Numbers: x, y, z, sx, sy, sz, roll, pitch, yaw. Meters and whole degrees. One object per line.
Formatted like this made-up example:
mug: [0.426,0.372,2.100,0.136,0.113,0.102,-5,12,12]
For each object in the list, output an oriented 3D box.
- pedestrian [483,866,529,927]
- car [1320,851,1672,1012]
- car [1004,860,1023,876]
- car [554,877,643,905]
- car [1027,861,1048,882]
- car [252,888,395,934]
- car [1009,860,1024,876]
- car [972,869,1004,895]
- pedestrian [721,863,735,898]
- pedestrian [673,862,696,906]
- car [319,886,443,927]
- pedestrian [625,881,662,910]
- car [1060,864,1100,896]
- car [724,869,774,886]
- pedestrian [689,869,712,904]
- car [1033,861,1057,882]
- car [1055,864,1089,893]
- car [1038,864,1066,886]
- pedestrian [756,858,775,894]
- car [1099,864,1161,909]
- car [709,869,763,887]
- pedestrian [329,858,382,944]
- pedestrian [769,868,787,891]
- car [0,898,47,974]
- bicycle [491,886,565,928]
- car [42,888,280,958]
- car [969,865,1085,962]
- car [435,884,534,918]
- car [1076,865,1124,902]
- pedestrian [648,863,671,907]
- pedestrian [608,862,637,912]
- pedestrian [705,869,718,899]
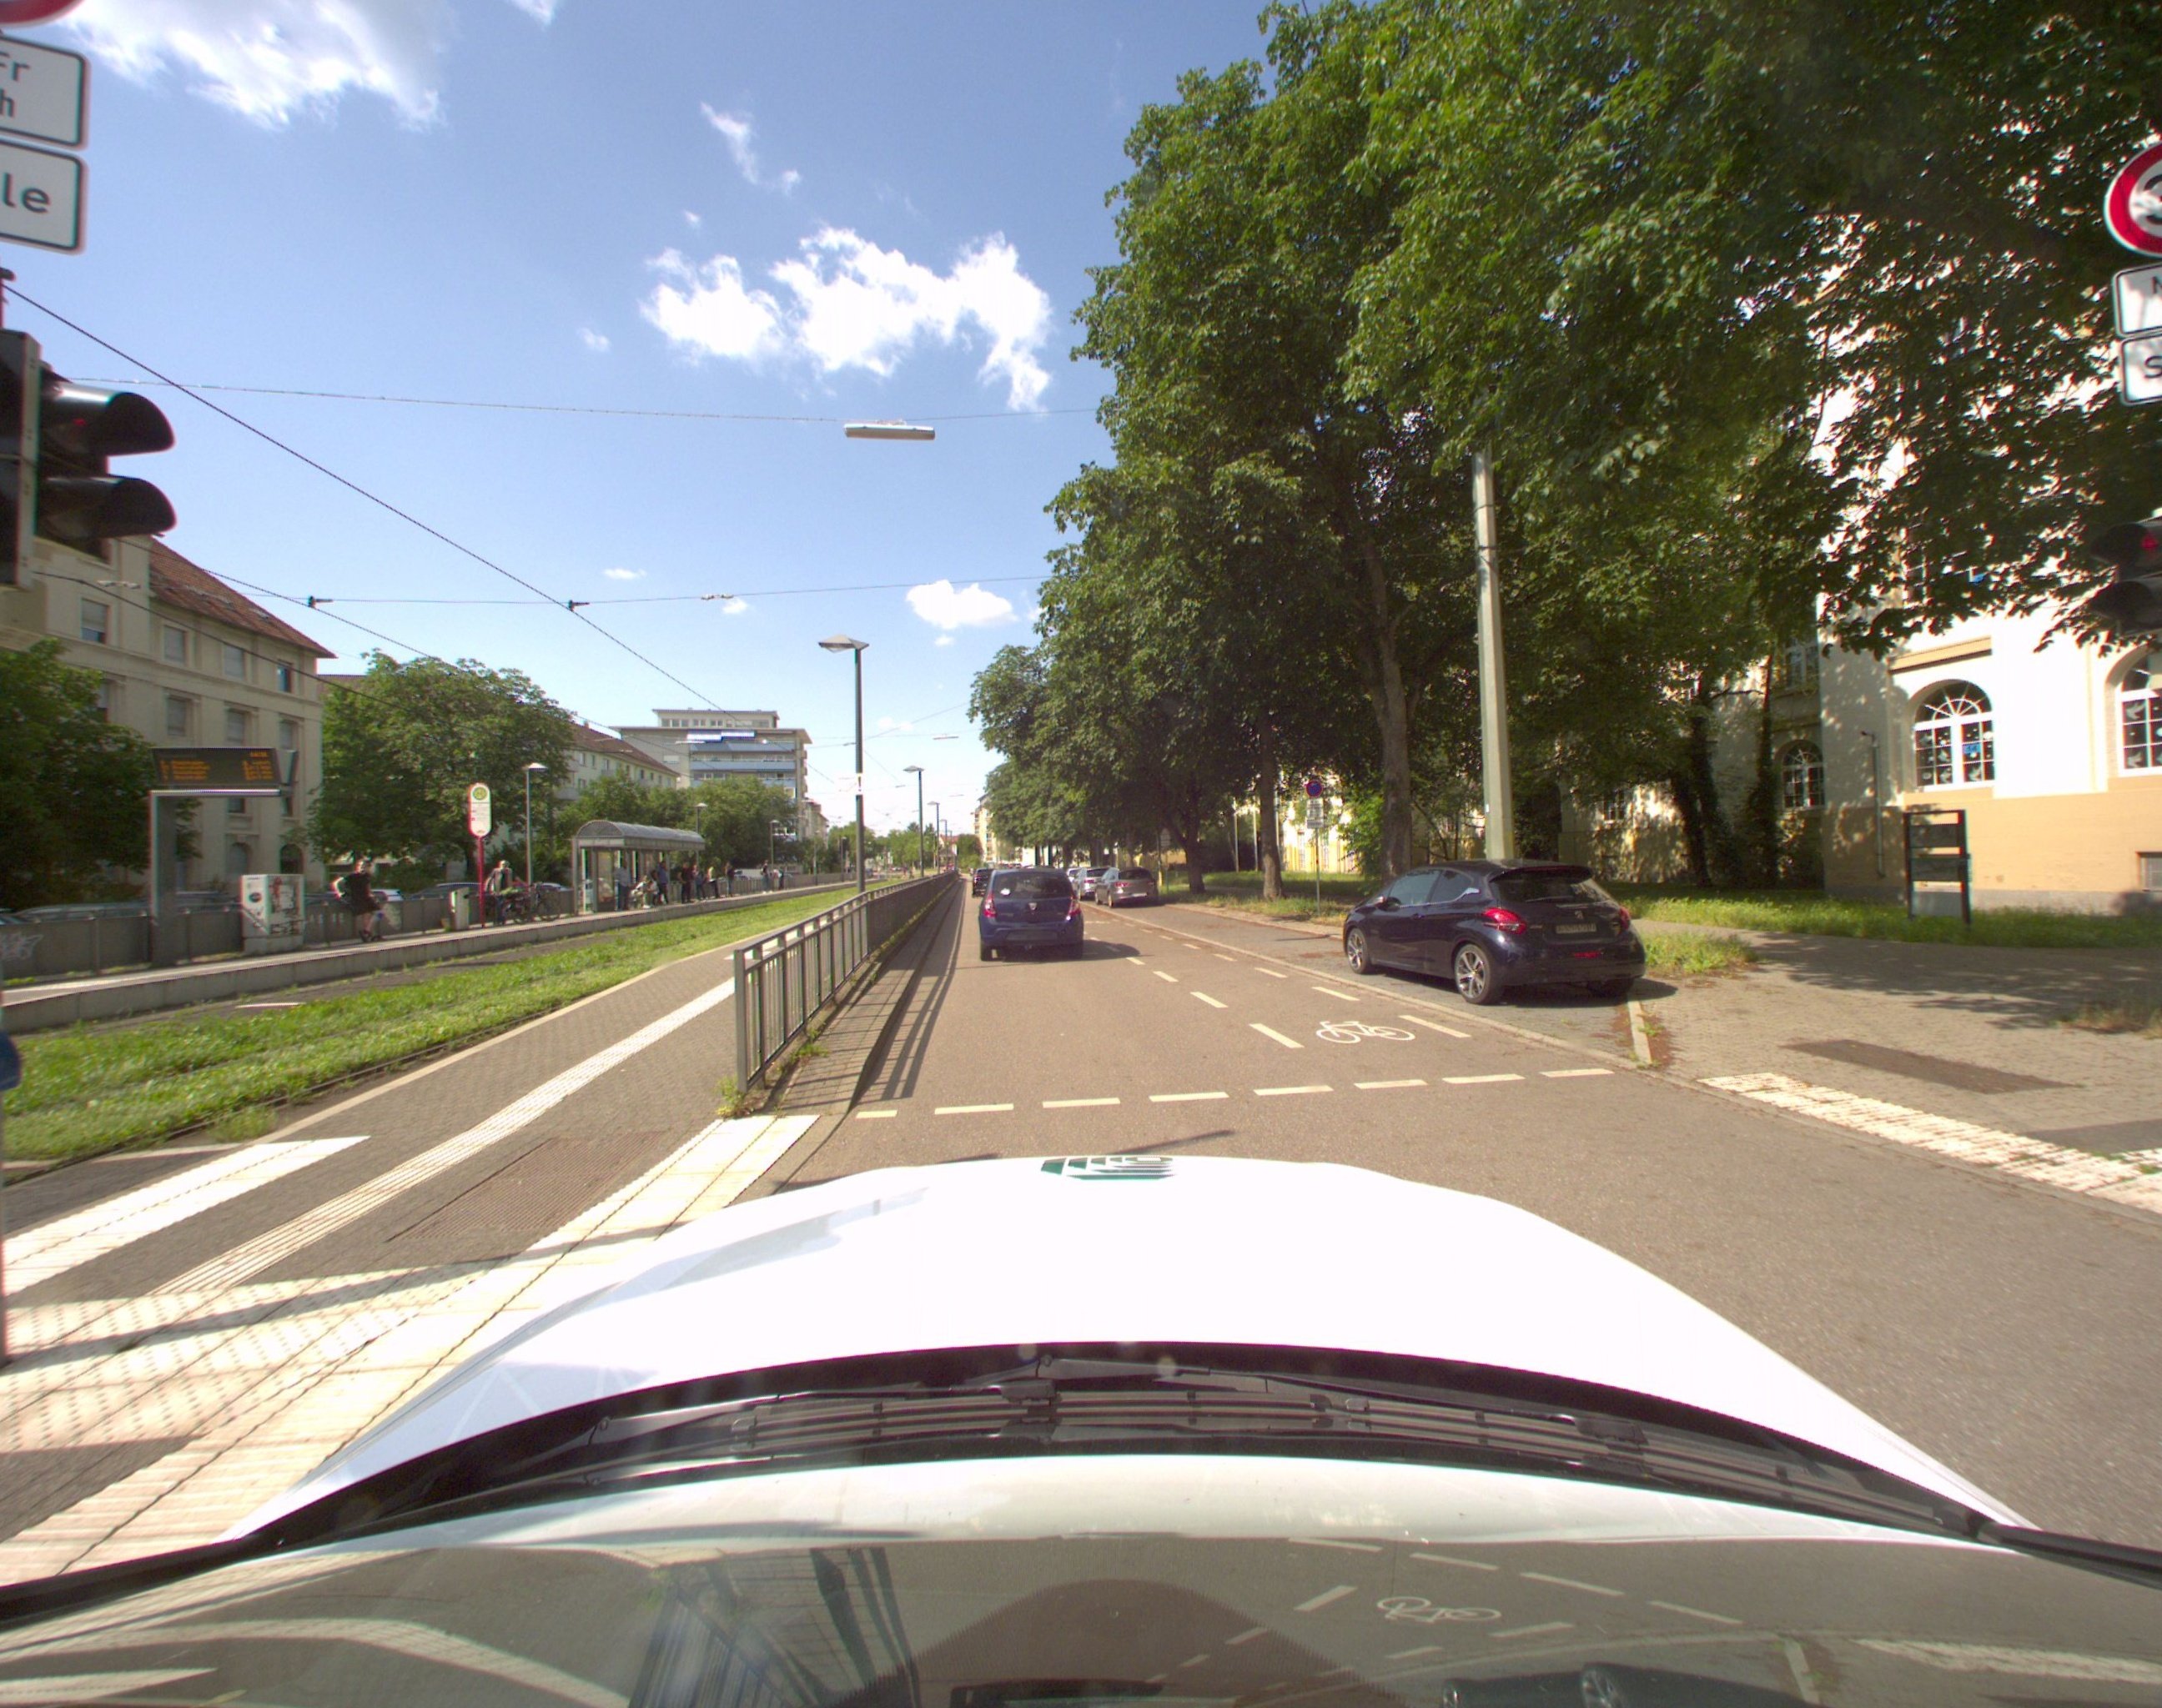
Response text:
pedestrian: [-15.553,1.141,22.040,0.661,1.569,0.686,-3,-1,0]
car: [4.541,0.749,9.663,1.764,1.433,3.893,-2,-1,-8]
car: [-7.579,1.572,91.462,1.825,1.762,3.997,-2,-1,-2]
car: [-27.392,2.092,46.319,1.694,1.367,4.025,-3,-1,41]
car: [-3.934,1.547,73.004,1.616,1.750,3.990,-2,-1,-7]
car: [-25.506,1.884,27.506,1.437,1.309,3.267,-2,-1,34]
car: [-7.737,1.636,97.572,1.664,1.772,3.995,-2,-1,-3]
car: [-5.535,1.669,48.923,1.696,1.368,3.511,-1,0,-3]
pedestrian: [-17.435,1.306,40.219,0.489,1.712,0.461,-2,-1,-17]
pedestrian: [-16.428,1.228,33.731,0.602,1.766,0.639,-2,-1,2]
car: [-26.171,1.935,30.508,1.437,1.309,3.267,-2,-1,37]
pedestrian: [-16.205,1.534,30.179,0.923,0.989,0.795,-3,-2,-5]
car: [-0.084,1.318,41.869,1.856,1.445,3.997,-3,0,-2]
car: [-31.207,2.159,76.533,4.022,1.447,1.707,-1,-1,-42]
pedestrian: [-16.091,1.363,34.434,0.648,1.426,0.566,-3,-1,30]
car: [-2.832,1.345,64.425,1.823,1.537,3.997,-3,-1,-2]
car: [-0.555,1.341,46.500,1.847,1.515,3.997,-2,-1,-2]
car: [-2.087,1.503,59.194,1.856,1.445,3.997,-3,-1,-2]
pedestrian: [-17.862,1.257,46.141,0.800,2.014,0.661,-2,-1,-5]
car: [1.743,1.136,30.048,1.856,1.445,3.997,-3,0,-2]
car: [-30.204,2.113,71.377,1.618,1.386,4.026,-2,-1,37]
pedestrian: [-15.193,0.968,17.056,0.705,1.726,0.672,-2,-1,34]
pedestrian: [-19.990,1.647,53.647,1.033,1.437,0.698,-3,0,-22]
car: [-23.463,1.728,16.204,1.525,1.505,3.409,-3,-1,45]
bicycle: [-14.854,1.399,21.932,0.683,0.974,1.772,-4,0,3]
car: [-24.058,1.750,21.504,1.669,1.456,4.025,-3,-1,42]
car: [-1.011,0.946,14.531,1.765,1.462,3.768,-1,-1,-6]
car: [-26.585,2.051,36.361,1.437,1.309,3.267,-2,-1,37]
car: [0.776,1.249,36.033,1.856,1.445,3.997,-3,0,-2]
pedestrian: [-16.869,1.221,32.593,0.592,1.736,0.556,-2,-1,-3]
pedestrian: [-16.112,1.142,28.628,0.654,1.692,0.655,-2,-1,-7]
pedestrian: [-18.221,1.478,40.174,0.489,1.452,0.461,-2,-1,-17]
